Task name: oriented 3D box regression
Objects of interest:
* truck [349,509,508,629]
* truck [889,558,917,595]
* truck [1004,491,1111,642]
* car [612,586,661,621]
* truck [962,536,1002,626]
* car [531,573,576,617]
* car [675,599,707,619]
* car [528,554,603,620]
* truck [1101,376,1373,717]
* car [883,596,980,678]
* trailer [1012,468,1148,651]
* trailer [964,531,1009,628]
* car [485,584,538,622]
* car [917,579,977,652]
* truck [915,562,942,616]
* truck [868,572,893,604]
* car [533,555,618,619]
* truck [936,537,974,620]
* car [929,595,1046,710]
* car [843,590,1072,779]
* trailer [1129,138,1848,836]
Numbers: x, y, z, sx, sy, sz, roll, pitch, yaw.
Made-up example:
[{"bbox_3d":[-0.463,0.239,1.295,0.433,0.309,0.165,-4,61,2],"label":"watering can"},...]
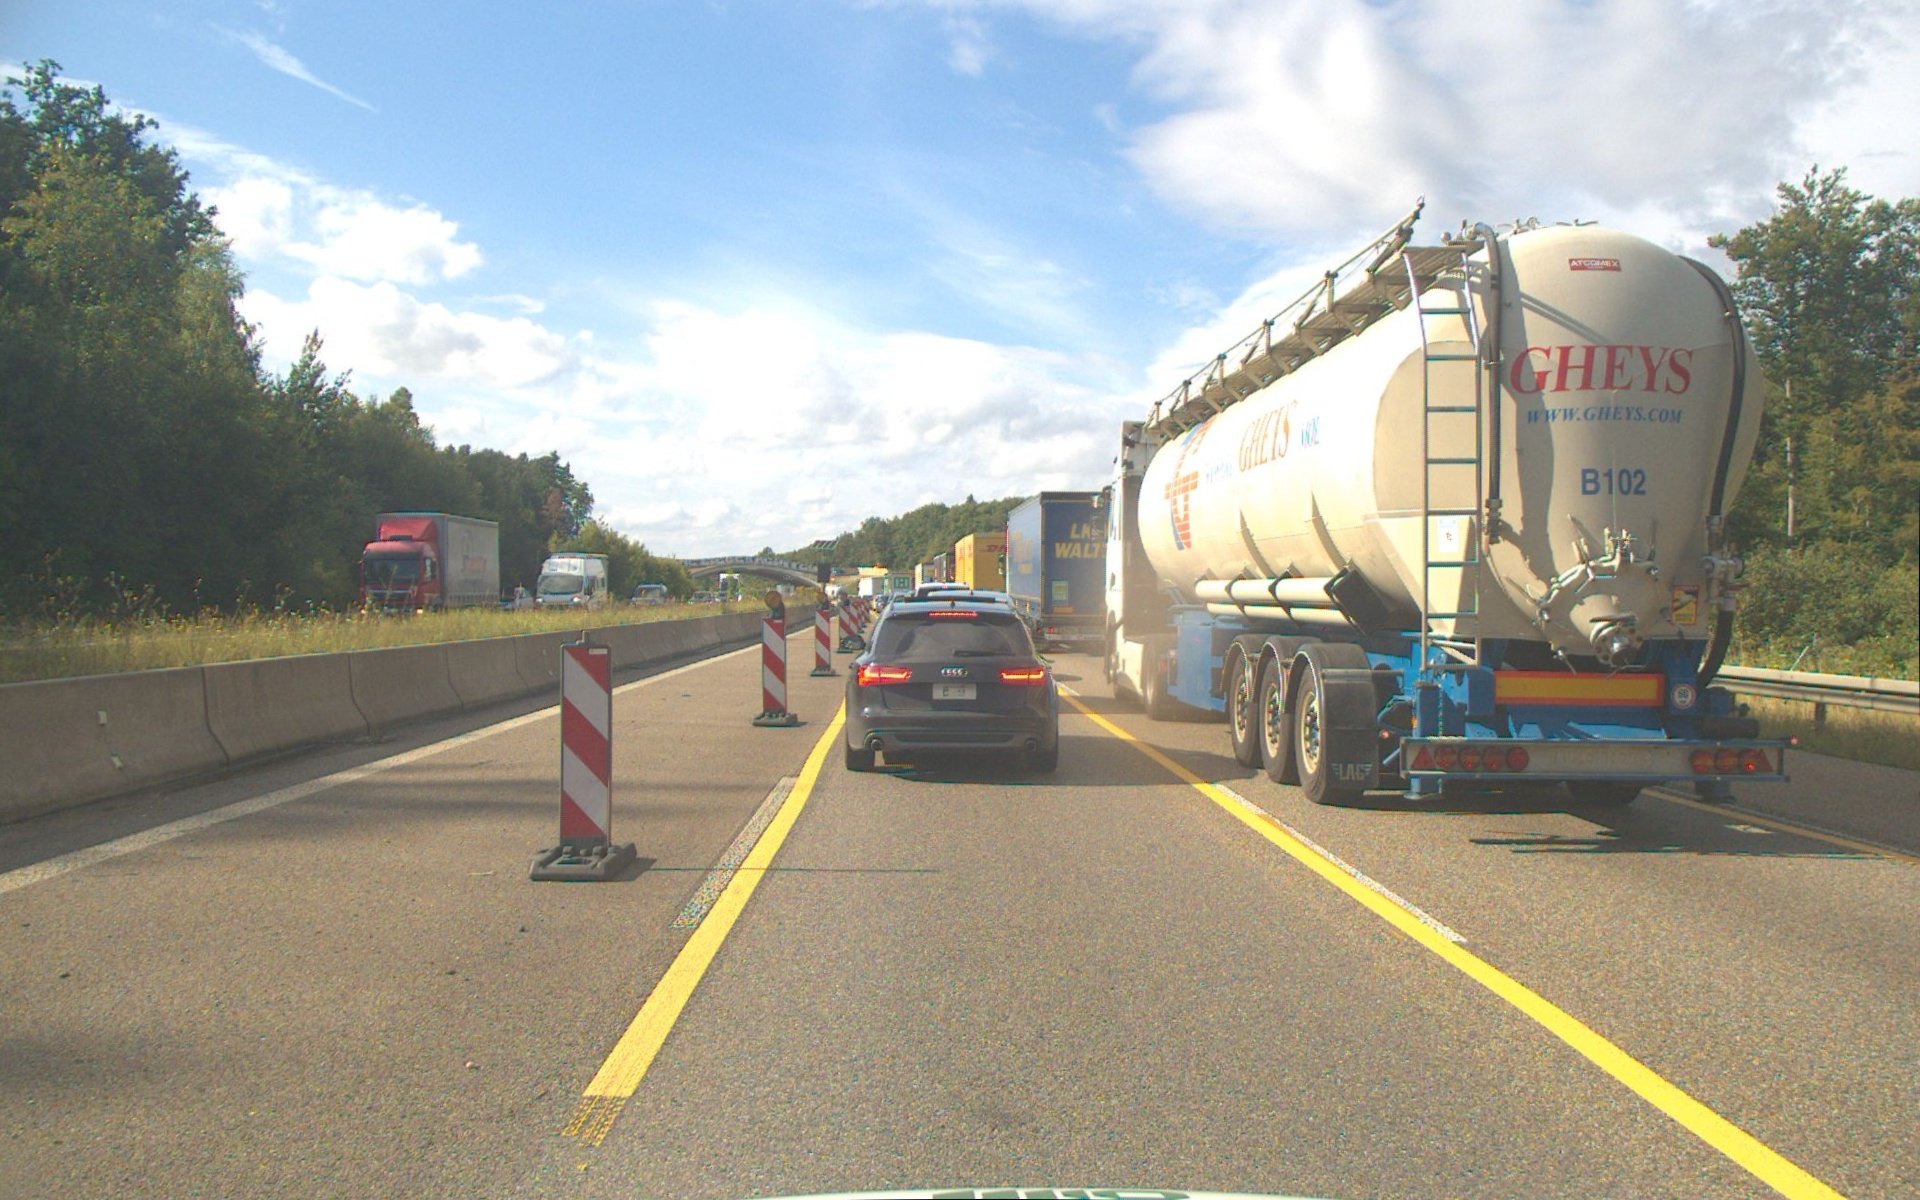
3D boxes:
[{"bbox_3d":[-19.536,-1.080,61.551,2.744,4.062,10.183,1,0,-1],"label":"truck"},{"bbox_3d":[-6.932,-2.818,200.997,3.238,4.248,9.696,1,0,-3],"label":"truck"},{"bbox_3d":[3.008,-0.967,53.095,2.749,4.446,7.789,1,0,-1],"label":"truck"},{"bbox_3d":[-17.776,0.211,91.017,1.905,1.844,4.118,1,0,-1],"label":"car"},{"bbox_3d":[0.973,-0.813,75.318,1.577,3.965,4.070,1,-1,-2],"label":"truck"},{"bbox_3d":[-25.556,-0.291,104.202,2.208,2.689,5.010,1,0,-8],"label":"car"},{"bbox_3d":[-20.150,0.671,124.077,1.743,1.411,4.309,1,0,-1],"label":"car"},{"bbox_3d":[-21.379,-0.651,90.040,2.436,3.429,7.449,1,0,-2],"label":"car"},{"bbox_3d":[3.577,-0.628,22.727,2.605,4.041,5.777,1,0,-1],"label":"truck"},{"bbox_3d":[-0.549,0.672,31.360,1.716,1.421,3.607,1,0,-1],"label":"car"},{"bbox_3d":[3.147,-0.968,46.246,2.748,4.490,10.429,1,0,-1],"label":"trailer"},{"bbox_3d":[1.100,-0.825,71.740,1.584,3.987,6.486,1,0,-2],"label":"trailer"},{"bbox_3d":[-25.552,0.182,94.338,1.953,2.049,3.999,1,0,-1],"label":"car"},{"bbox_3d":[-0.368,0.409,44.741,1.549,1.869,3.111,1,0,-1],"label":"car"},{"bbox_3d":[-2.630,-0.881,138.045,2.094,4.332,7.069,1,0,-2],"label":"truck"},{"bbox_3d":[-11.124,-1.664,231.196,3.239,4.248,9.694,1,0,-4],"label":"truck"},{"bbox_3d":[-15.788,-0.574,68.327,2.116,2.494,6.331,0,1,-1],"label":"car"},{"bbox_3d":[-0.374,-1.318,105.236,1.953,5.000,9.557,1,0,-2],"label":"truck"},{"bbox_3d":[0.333,0.694,23.105,1.493,1.464,3.284,1,0,-1],"label":"car"},{"bbox_3d":[-0.061,0.684,15.156,1.811,1.489,3.999,0,0,-1],"label":"car"},{"bbox_3d":[3.733,-0.656,15.926,2.590,4.012,12.594,1,0,-1],"label":"trailer"}]
